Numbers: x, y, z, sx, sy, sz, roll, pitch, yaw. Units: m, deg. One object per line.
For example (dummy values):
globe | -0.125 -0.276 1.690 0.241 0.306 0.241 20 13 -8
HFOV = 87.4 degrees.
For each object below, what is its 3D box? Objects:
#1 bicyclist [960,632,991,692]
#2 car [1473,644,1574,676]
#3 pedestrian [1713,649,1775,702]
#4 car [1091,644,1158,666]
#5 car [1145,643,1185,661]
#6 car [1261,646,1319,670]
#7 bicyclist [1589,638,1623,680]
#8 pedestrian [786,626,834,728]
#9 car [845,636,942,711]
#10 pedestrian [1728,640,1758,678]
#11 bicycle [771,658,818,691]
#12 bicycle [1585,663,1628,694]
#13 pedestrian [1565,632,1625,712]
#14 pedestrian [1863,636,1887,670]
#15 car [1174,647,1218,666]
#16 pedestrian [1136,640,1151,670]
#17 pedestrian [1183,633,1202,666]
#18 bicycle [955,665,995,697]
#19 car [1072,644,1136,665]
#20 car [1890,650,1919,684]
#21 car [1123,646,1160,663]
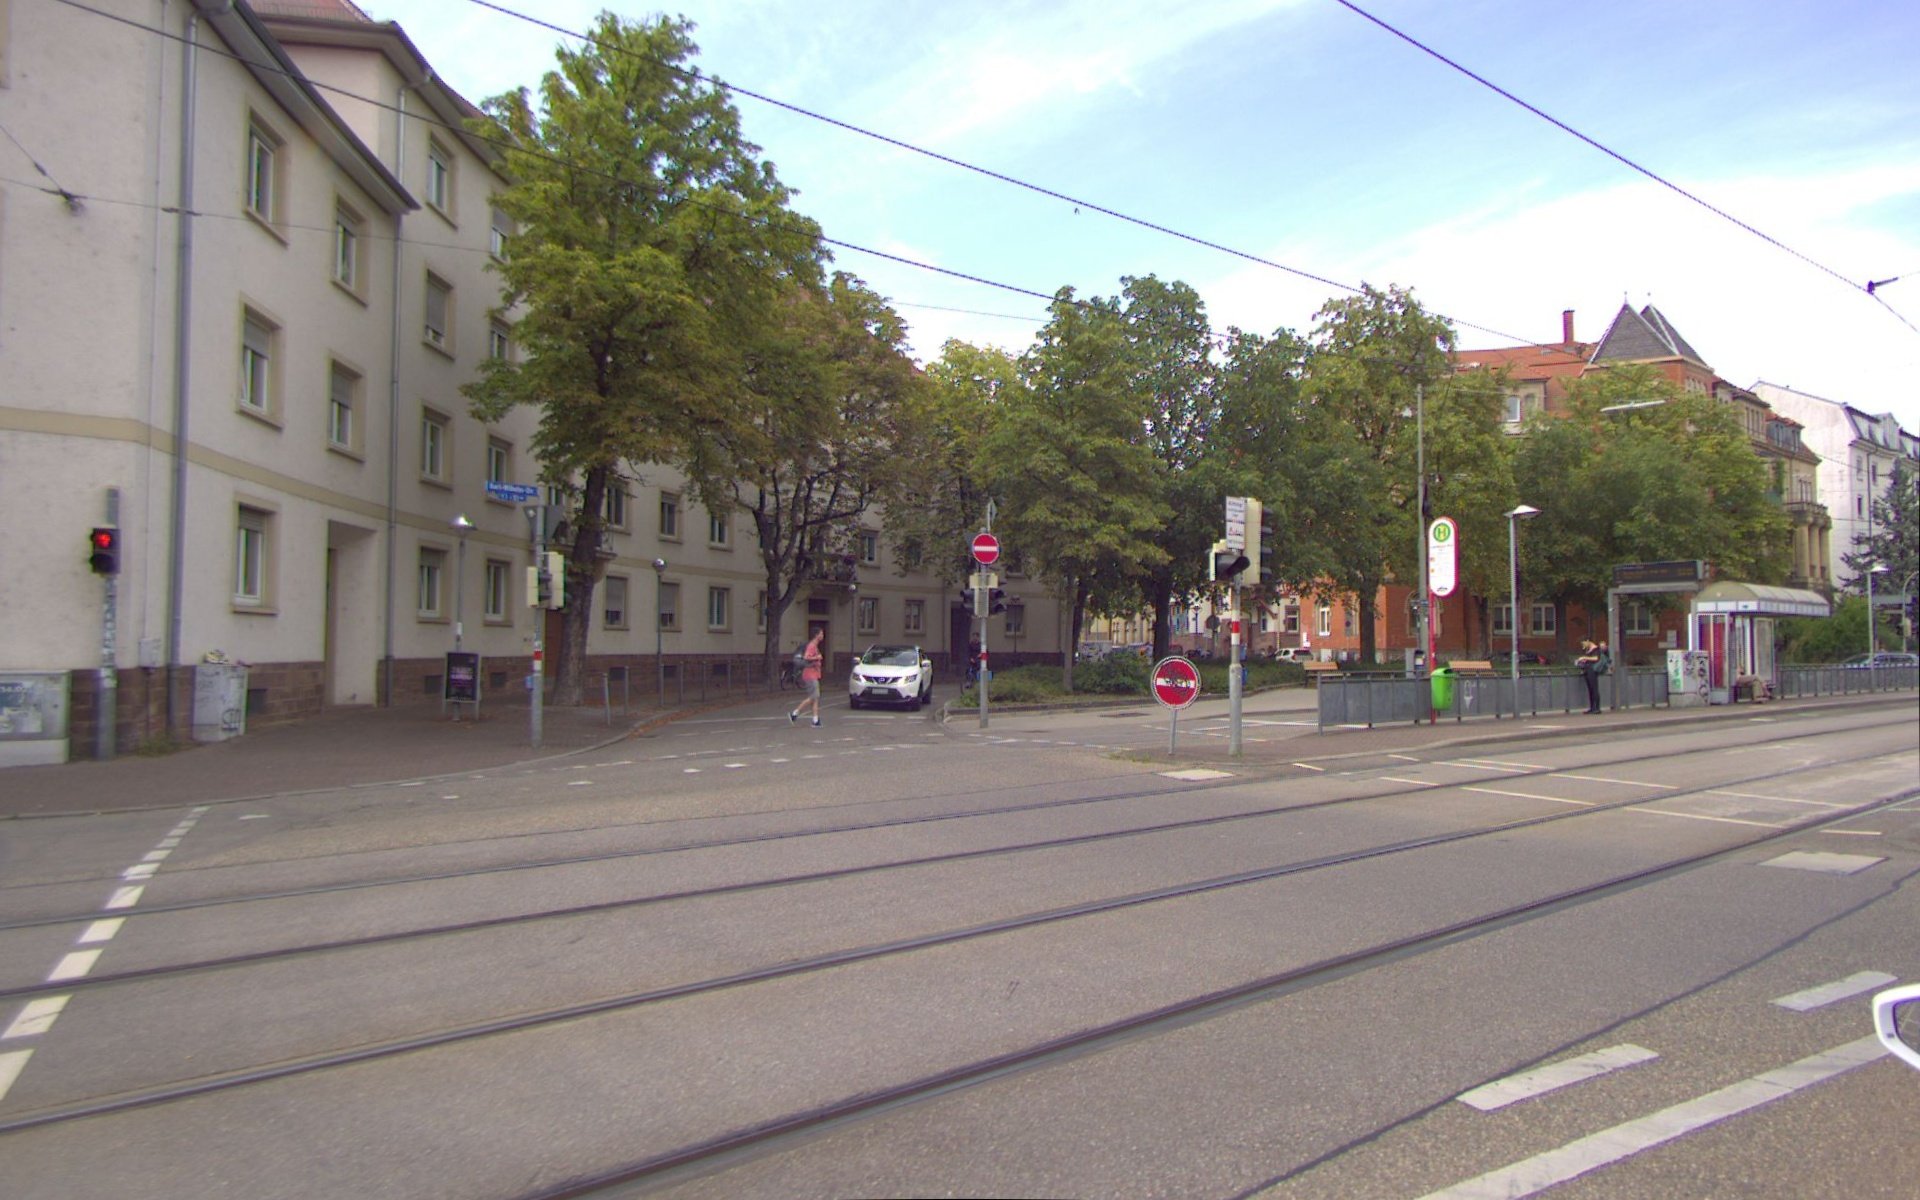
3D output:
bicyclist | 0.470 1.900 30.887 0.601 1.798 0.910 -1 -3 28
car | 27.189 2.883 48.578 3.919 1.497 1.817 0 -3 14
pedestrian | 20.039 1.905 25.668 0.978 1.310 1.050 2 -3 -39
car | 10.691 3.593 65.483 3.930 1.413 1.812 1 -3 -12
car | 16.678 4.228 81.745 1.783 1.413 3.993 1 -3 -11
car | 20.779 3.658 63.469 1.783 1.497 3.993 1 -3 -11
bicyclist | 21.294 1.927 33.104 0.827 1.357 0.657 2 -3 -34
pedestrian | -2.906 1.475 19.423 0.821 1.925 0.730 1 -2 -16
car | -1.640 1.926 26.164 1.804 1.743 4.164 1 -5 6
pedestrian | 33.743 2.535 43.276 0.738 1.654 0.862 2 -3 -39
bicycle | -5.425 2.435 33.020 0.486 1.022 1.837 -1 -3 29
bicycle | 21.295 2.569 33.079 1.534 0.961 0.656 2 -3 -34
pedestrian | 13.468 1.519 21.309 0.836 1.642 0.845 2 -3 -39
pedestrian | 48.019 2.775 52.730 0.827 1.807 0.726 2 -3 -34
car | 17.885 4.252 76.344 1.783 1.413 3.993 1 -3 -11
pedestrian | 10.915 3.287 59.710 0.672 1.777 0.731 0 -2 -13
pedestrian | 12.574 2.678 54.359 0.720 1.777 0.751 1 -2 -16
bicycle | 0.466 2.476 30.853 0.597 0.949 1.574 -1 -3 28
car | 9.694 3.673 67.875 3.930 1.413 1.812 1 -3 -12
car | 43.781 3.025 45.317 3.957 1.460 1.742 2 -1 -33
car | 15.616 4.682 86.638 1.783 1.413 3.993 1 -3 -11
